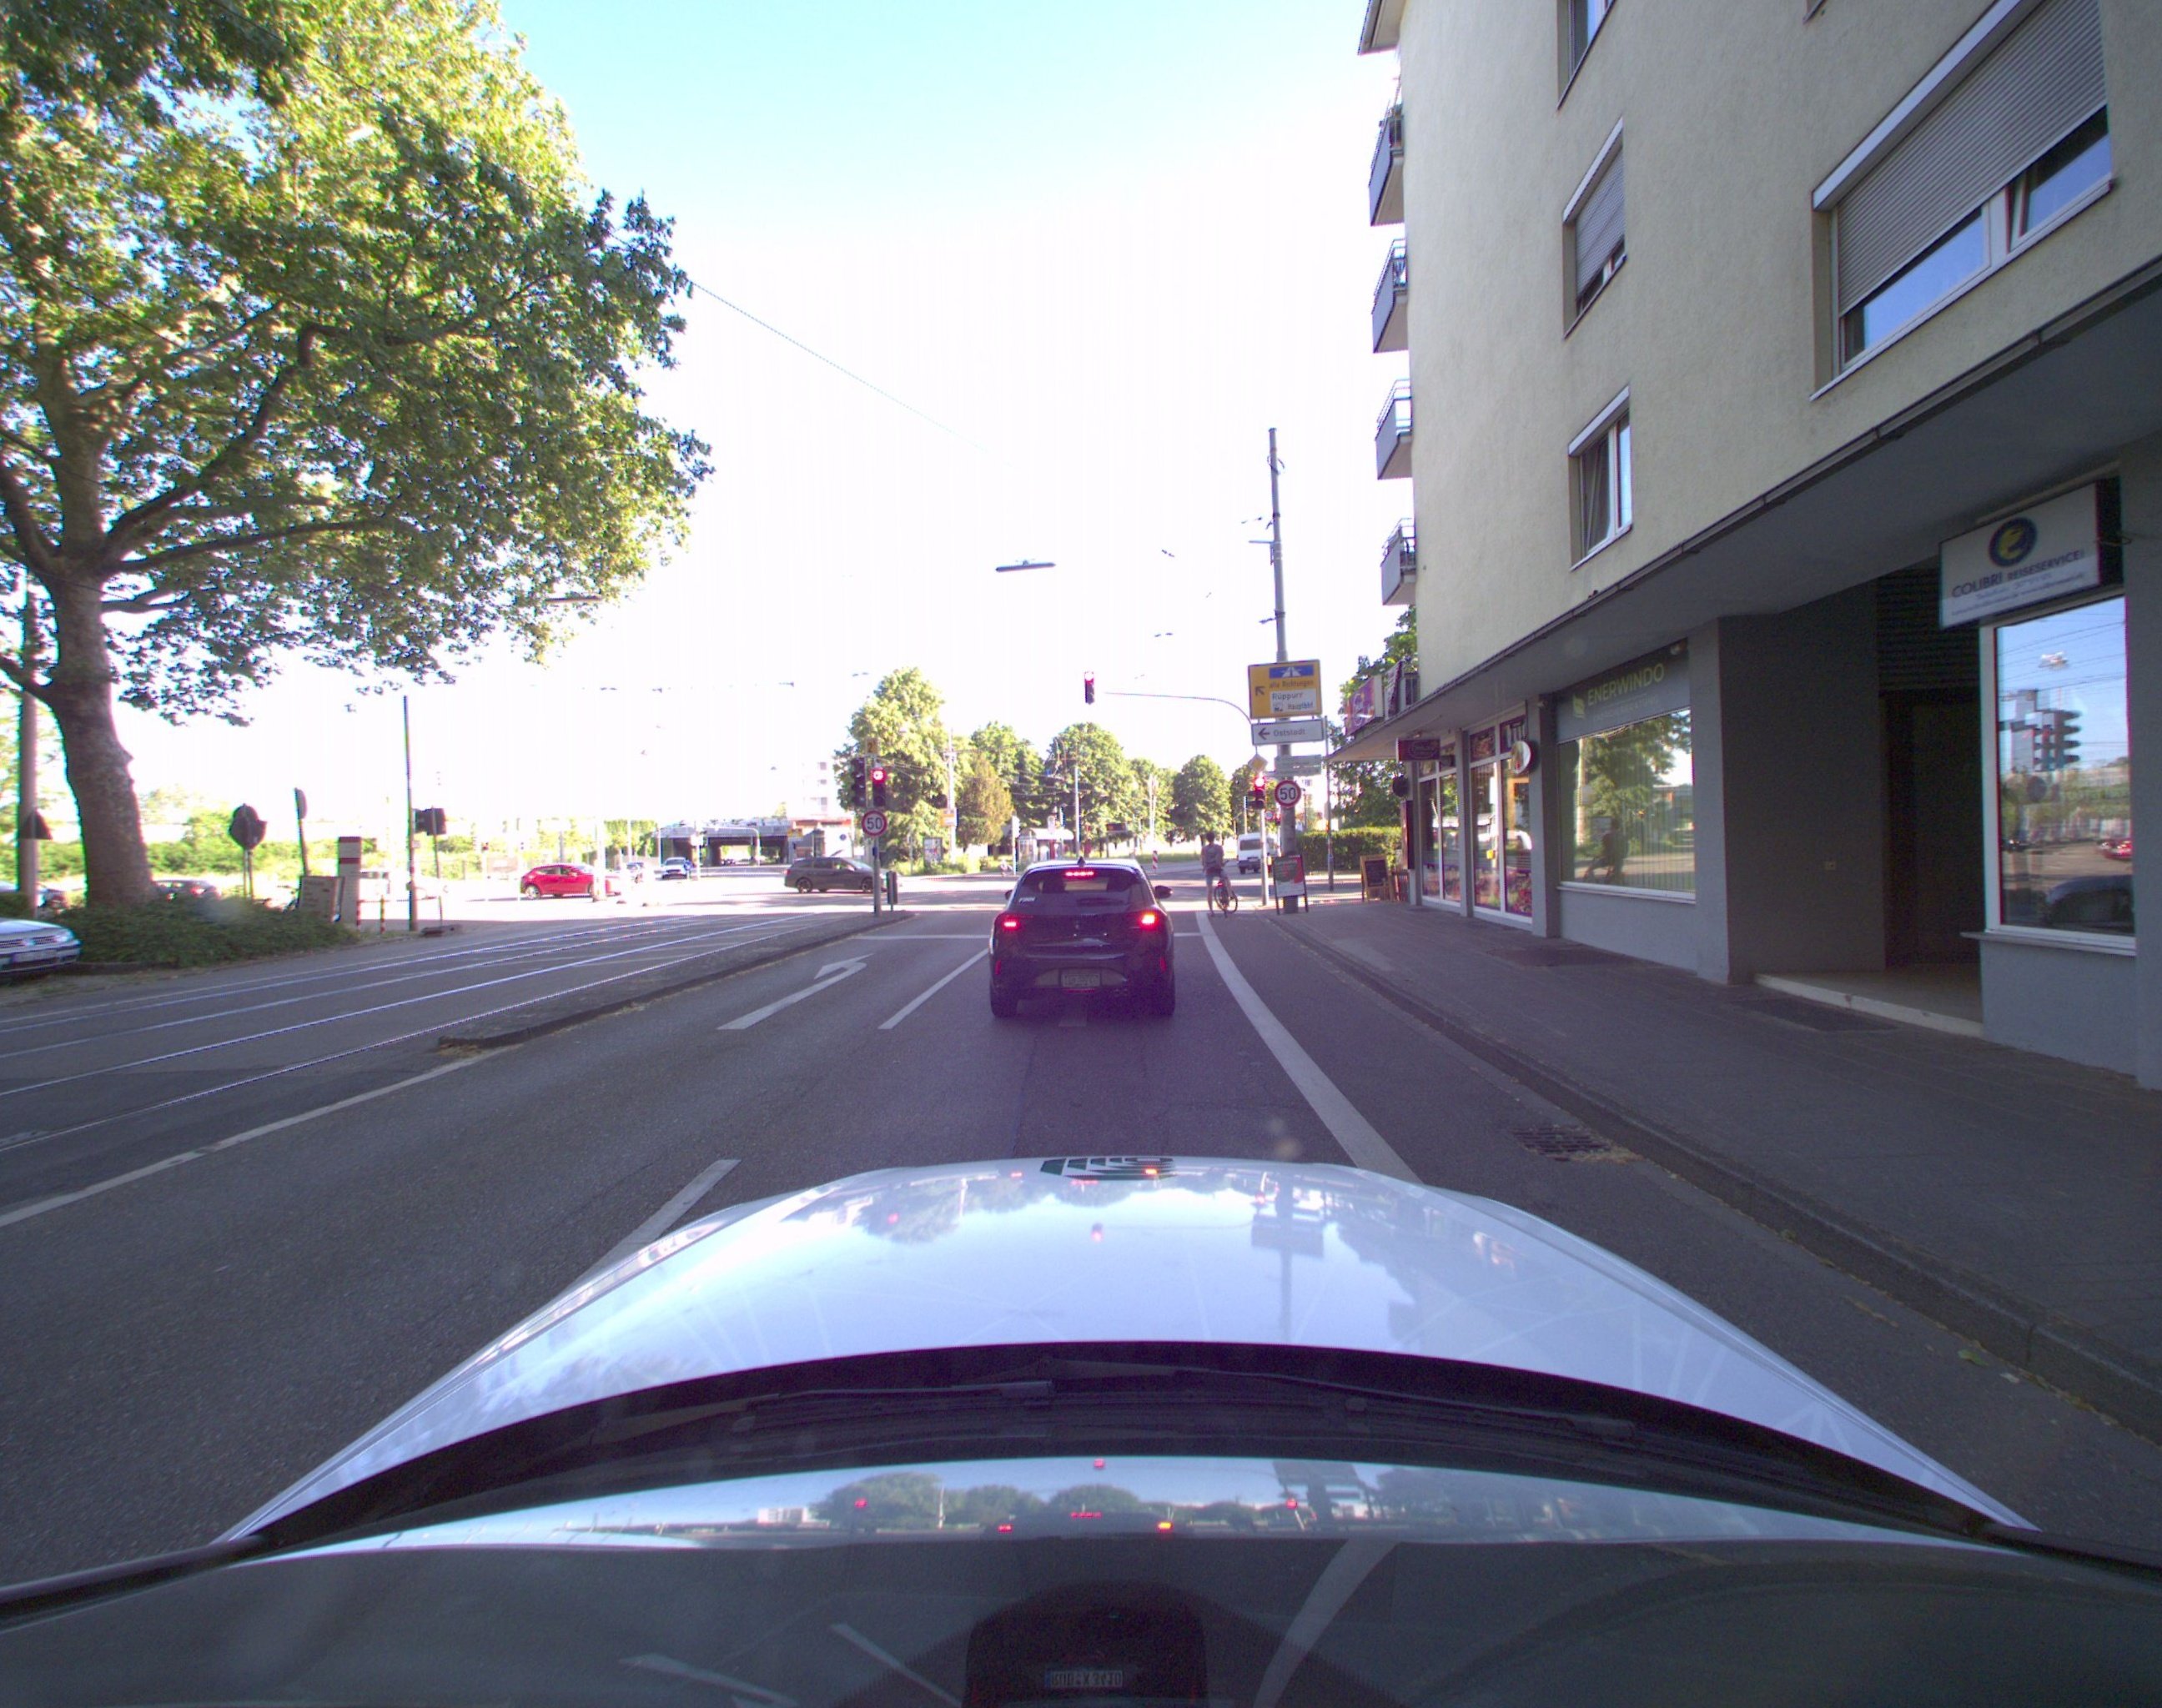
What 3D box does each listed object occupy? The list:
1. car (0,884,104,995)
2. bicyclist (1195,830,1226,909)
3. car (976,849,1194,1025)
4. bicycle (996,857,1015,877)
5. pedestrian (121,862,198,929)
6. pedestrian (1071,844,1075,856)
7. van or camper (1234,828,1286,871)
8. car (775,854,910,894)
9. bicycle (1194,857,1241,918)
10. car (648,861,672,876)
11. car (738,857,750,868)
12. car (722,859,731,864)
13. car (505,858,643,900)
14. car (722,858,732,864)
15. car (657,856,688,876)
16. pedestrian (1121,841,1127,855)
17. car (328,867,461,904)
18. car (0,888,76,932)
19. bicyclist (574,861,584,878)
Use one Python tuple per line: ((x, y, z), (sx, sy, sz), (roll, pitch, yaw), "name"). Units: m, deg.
((-16.625, 1.199, 11.340), (3.957, 1.453, 1.670), (-1, 0, -1), "car")
((2.842, 0.326, 17.862), (0.529, 1.692, 0.571), (-2, 0, 19), "bicyclist")
((0.097, 0.700, 8.926), (1.833, 1.462, 3.985), (-1, 0, 2), "car")
((-4.318, 0.720, 46.524), (0.793, 1.064, 2.186), (-2, 0, 2), "bicycle")
((-23.223, 1.023, 20.543), (0.842, 1.647, 0.931), (0, -1, 1), "pedestrian")
((-1.220, -0.620, 121.276), (0.602, 1.872, 0.519), (0, -1, -4), "pedestrian")
((10.186, -0.232, 46.178), (2.011, 2.310, 4.565), (-1, -1, 23), "van or camper")
((-9.400, 0.769, 32.247), (4.701, 1.473, 1.943), (-1, 0, 7), "car")
((3.051, 0.710, 18.026), (0.747, 1.235, 2.024), (-2, 0, 16), "bicycle")
((-44.406, 1.500, 85.970), (1.892, 1.585, 3.809), (0, -1, -21), "car")
((-54.285, 1.406, 131.196), (1.761, 1.684, 3.713), (0, -1, -22), "car")
((-84.133, 1.788, 193.156), (1.587, 1.260, 3.397), (-2, 0, -28), "car")
((-21.435, 1.031, 34.576), (4.466, 1.565, 2.021), (-1, 0, -3), "car")
((-72.589, 1.460, 167.172), (1.587, 1.260, 3.397), (-2, 0, -28), "car")
((-32.732, 0.934, 65.388), (1.892, 1.585, 3.809), (0, -1, -21), "car")
((5.708, -0.778, 107.824), (0.606, 1.872, 0.515), (0, -1, -25), "pedestrian")
((-30.764, 1.382, 36.680), (4.204, 1.552, 1.981), (0, -1, -26), "car")
((-42.060, 2.199, 31.098), (4.216, 1.519, 1.788), (-2, 1, -27), "car")
((-36.678, 1.124, 59.499), (0.528, 1.222, 0.526), (-1, 0, -21), "bicyclist")
